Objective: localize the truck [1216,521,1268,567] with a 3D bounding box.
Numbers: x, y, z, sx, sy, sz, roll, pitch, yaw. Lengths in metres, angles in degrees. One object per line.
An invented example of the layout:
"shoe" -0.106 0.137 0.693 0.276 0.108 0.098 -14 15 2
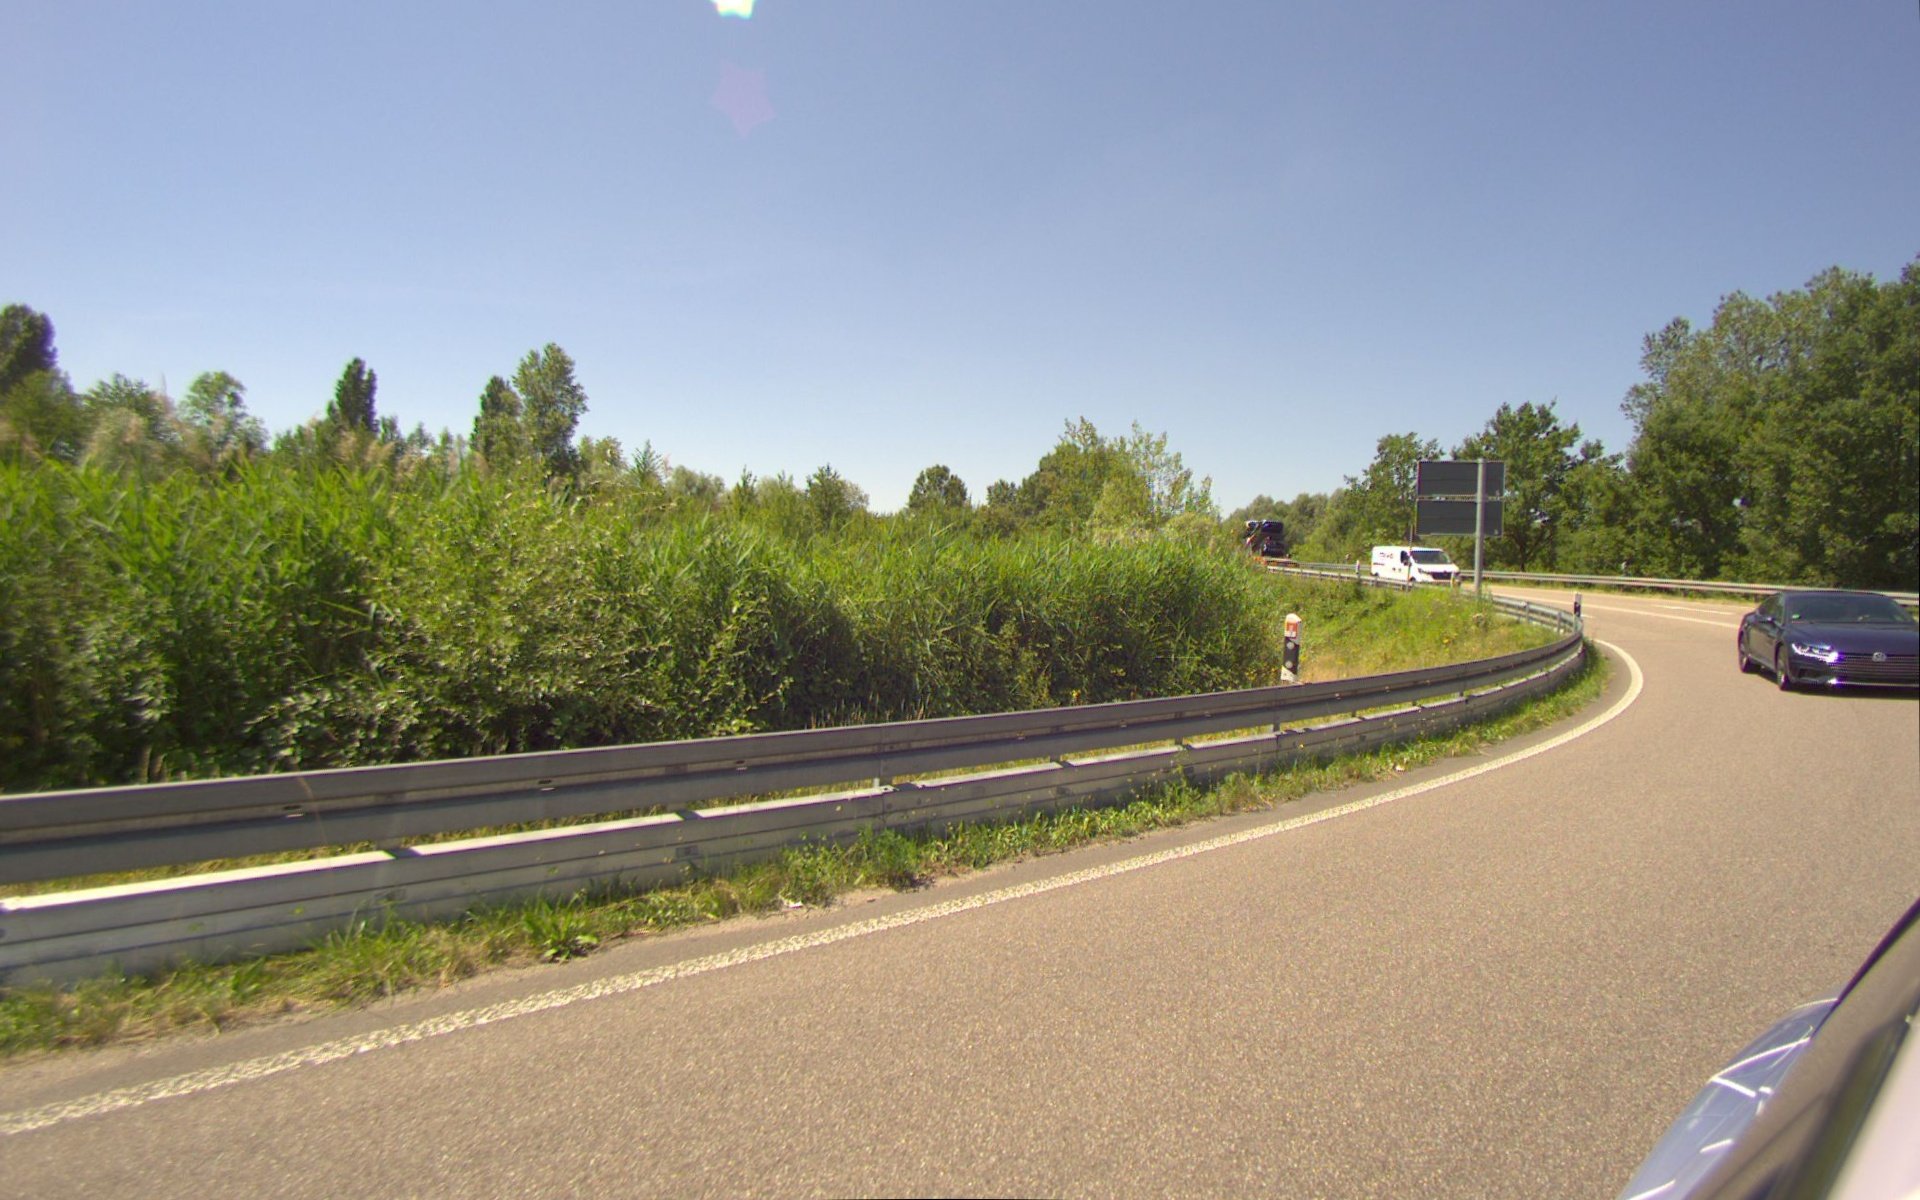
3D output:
"truck" 25.379 -5.101 91.519 2.748 3.944 8.777 0 4 4

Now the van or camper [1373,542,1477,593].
"van or camper" 20.440 -1.514 44.765 1.971 2.055 5.453 -1 4 -1

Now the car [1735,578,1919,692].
"car" 13.452 0.430 15.432 1.827 1.448 4.490 -1 1 28

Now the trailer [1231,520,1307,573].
"trailer" 24.745 -4.460 81.978 2.752 3.944 13.982 0 4 4
